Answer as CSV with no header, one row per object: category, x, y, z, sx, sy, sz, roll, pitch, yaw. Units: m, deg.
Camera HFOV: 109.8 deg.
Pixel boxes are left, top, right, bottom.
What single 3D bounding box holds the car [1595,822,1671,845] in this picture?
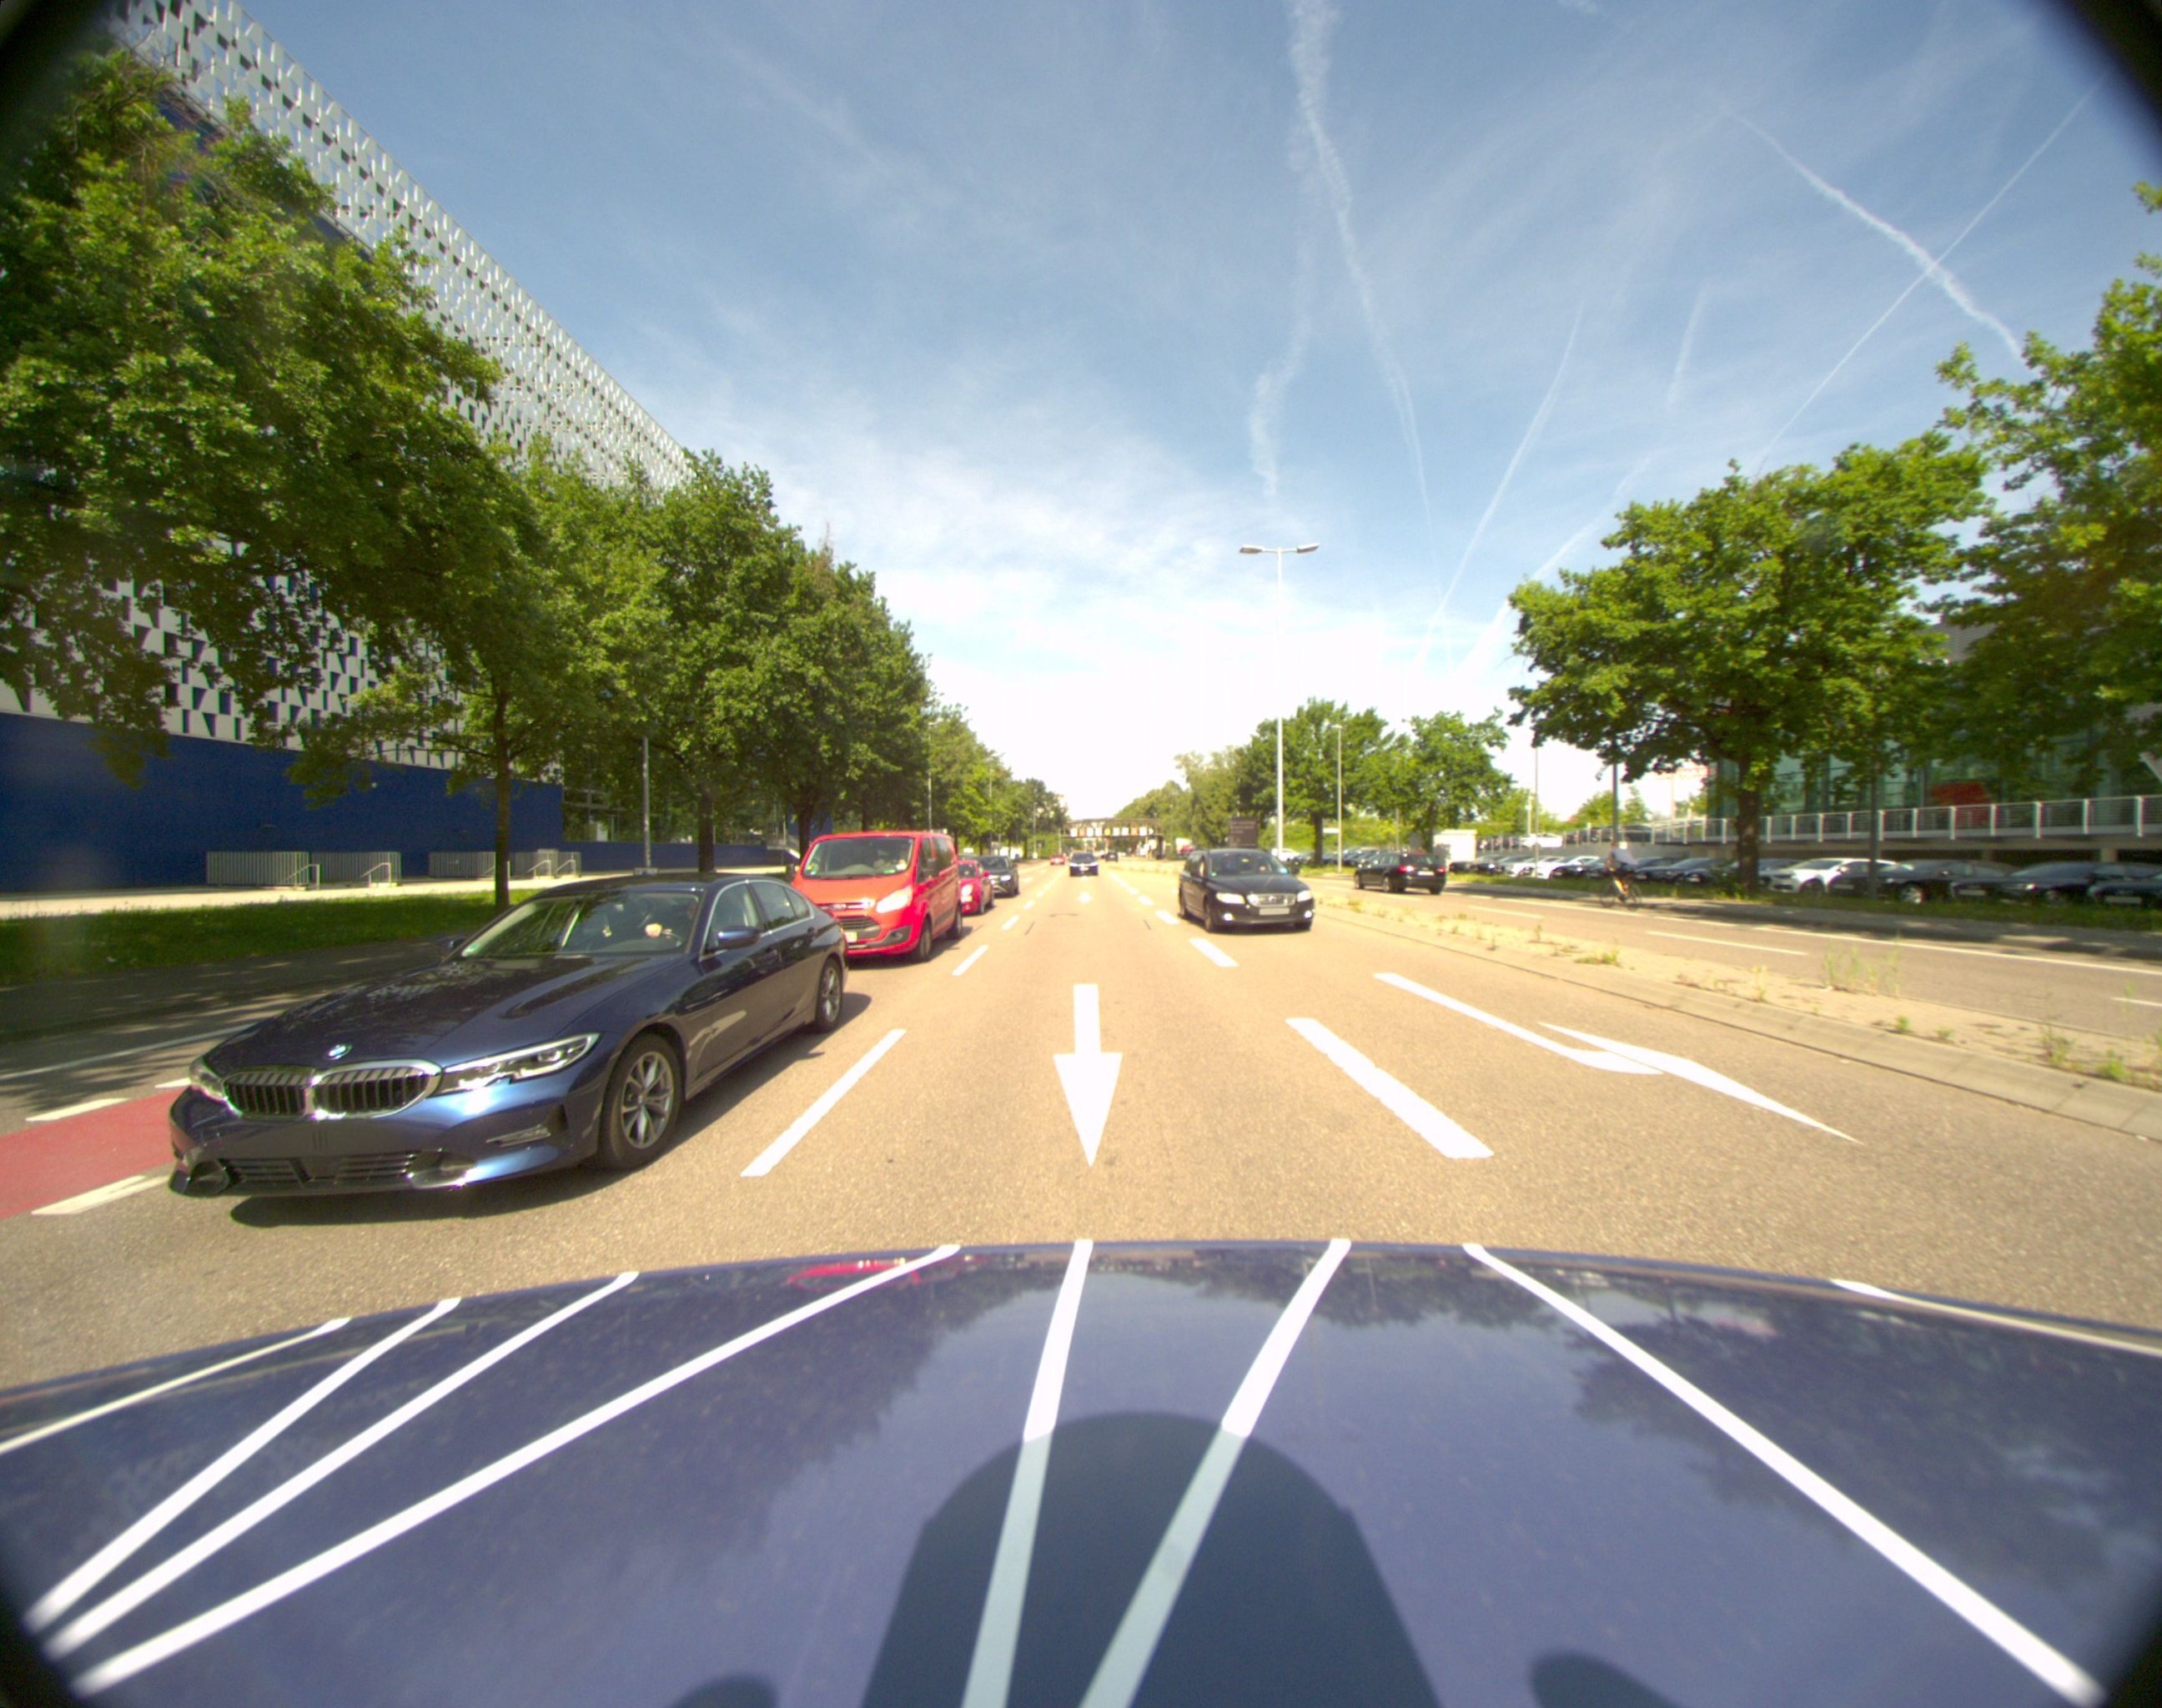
car,39.829,-1.455,54.904,4.196,1.397,1.690,3,1,1

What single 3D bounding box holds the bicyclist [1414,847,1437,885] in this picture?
bicyclist,14.633,0.504,32.305,0.578,1.587,0.910,1,1,3

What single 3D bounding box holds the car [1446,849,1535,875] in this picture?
car,23.741,0.465,44.133,4.196,1.315,1.690,3,1,1

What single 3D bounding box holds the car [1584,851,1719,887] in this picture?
car,23.446,0.595,31.337,4.196,1.252,1.690,3,1,1

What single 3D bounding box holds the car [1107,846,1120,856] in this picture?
car,4.696,-0.432,110.492,1.866,1.503,4.000,0,0,1

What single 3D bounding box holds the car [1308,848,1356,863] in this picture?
car,24.662,0.160,74.767,4.196,1.315,1.690,3,1,1

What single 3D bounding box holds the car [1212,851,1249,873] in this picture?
car,10.294,0.529,52.549,1.732,1.430,3.869,2,0,-1

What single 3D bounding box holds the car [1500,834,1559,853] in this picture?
car,40.197,-0.960,68.113,4.196,1.490,1.690,3,1,1

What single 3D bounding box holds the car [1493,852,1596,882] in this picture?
car,23.750,0.654,39.067,4.196,1.317,1.690,3,1,1

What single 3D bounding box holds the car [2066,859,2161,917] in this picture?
car,23.430,0.771,15.550,4.196,1.128,1.695,3,1,1

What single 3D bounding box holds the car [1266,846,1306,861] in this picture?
car,23.732,-0.092,88.044,4.196,1.490,1.690,3,1,1

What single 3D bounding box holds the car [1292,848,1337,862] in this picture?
car,24.529,0.120,79.814,4.196,1.315,1.690,3,1,1

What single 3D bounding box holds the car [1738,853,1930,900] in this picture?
car,23.334,0.670,23.662,4.196,1.188,1.690,3,1,1

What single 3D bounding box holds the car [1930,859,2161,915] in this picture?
car,23.588,0.778,18.306,4.196,1.116,1.719,3,1,1

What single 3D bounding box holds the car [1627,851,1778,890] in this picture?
car,23.346,0.596,28.641,4.196,1.247,1.690,3,1,1

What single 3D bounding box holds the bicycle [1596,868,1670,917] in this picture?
bicycle,14.152,0.952,19.550,0.572,1.143,1.925,0,1,3

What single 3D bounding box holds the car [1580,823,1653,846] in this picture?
car,40.509,-1.464,57.527,4.196,1.490,1.690,3,1,1

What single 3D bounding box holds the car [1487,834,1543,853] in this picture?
car,40.200,-0.965,70.448,4.196,1.490,1.690,3,1,1

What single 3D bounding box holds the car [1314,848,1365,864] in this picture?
car,24.498,0.205,72.082,4.196,1.315,1.690,3,1,1

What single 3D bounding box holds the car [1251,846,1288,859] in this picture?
car,23.709,-0.182,95.829,4.196,1.371,1.690,3,1,1

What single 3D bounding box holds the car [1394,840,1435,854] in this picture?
car,40.437,-0.880,92.249,4.196,1.490,1.690,3,1,1

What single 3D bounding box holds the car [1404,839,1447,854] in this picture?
car,40.226,-0.882,88.695,4.196,1.490,1.690,3,1,1

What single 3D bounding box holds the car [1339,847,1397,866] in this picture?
car,24.167,0.198,64.000,4.196,1.315,1.690,3,1,1

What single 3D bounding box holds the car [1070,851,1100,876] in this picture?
car,0.245,0.582,49.936,1.848,1.531,3.999,0,0,0

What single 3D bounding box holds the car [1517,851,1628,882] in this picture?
car,23.659,0.580,36.661,4.196,1.248,1.690,3,1,1

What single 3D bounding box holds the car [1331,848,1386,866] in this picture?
car,24.263,0.240,66.532,4.196,1.315,1.690,3,1,1

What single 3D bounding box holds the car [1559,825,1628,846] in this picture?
car,40.623,-1.457,60.259,4.196,1.490,1.690,3,1,1

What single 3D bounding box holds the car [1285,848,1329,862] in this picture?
car,24.574,0.057,82.604,4.196,1.315,1.690,3,1,1

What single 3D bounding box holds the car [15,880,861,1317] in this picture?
car,-3.044,0.994,5.102,1.800,1.421,4.537,-1,0,0

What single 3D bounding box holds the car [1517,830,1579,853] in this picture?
car,40.180,-1.085,65.453,4.196,1.722,1.690,3,1,1

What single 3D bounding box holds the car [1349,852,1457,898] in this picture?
car,11.473,0.682,27.433,1.851,1.451,4.663,2,0,0

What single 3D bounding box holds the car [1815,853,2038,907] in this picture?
car,23.419,0.702,21.165,4.196,1.239,1.690,3,1,1

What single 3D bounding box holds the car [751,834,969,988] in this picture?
car,-3.168,0.713,12.087,2.014,1.896,4.809,-2,0,0

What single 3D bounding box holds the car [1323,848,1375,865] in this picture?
car,24.496,0.206,69.546,4.196,1.315,1.690,3,1,1

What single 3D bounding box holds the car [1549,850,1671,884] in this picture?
car,23.590,0.560,33.972,4.196,1.291,1.690,3,1,1

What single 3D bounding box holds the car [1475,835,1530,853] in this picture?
car,40.297,-0.943,72.737,4.196,1.490,1.690,3,1,1

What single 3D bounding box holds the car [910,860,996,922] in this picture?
car,-3.326,0.923,20.450,1.692,1.414,3.915,-1,0,-1

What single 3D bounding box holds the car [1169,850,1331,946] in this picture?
car,3.045,0.710,14.849,1.883,1.513,4.867,-2,0,-2

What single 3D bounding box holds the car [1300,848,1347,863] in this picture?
car,24.601,0.169,77.314,4.196,1.315,1.690,3,1,1

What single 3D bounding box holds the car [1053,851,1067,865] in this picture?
car,-2.592,0.484,96.075,1.649,1.531,3.999,-3,0,-1

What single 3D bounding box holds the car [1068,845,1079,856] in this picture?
car,-1.507,-0.674,154.367,1.998,2.002,3.999,-3,1,0

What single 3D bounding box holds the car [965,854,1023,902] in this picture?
car,-3.130,0.833,28.036,1.649,1.531,3.999,-3,0,-1

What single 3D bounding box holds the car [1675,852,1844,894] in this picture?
car,23.233,0.643,26.117,4.196,1.198,1.690,3,1,1

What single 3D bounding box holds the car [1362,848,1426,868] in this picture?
car,24.063,0.320,58.529,4.196,1.315,1.690,3,1,1

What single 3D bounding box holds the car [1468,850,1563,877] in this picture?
car,23.776,0.524,41.665,4.196,1.239,1.690,3,1,1

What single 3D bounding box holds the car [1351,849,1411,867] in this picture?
car,24.215,0.316,61.423,4.196,1.315,1.690,3,1,1

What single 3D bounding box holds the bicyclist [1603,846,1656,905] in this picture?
bicyclist,14.160,0.526,19.630,0.571,1.474,1.143,0,1,3
